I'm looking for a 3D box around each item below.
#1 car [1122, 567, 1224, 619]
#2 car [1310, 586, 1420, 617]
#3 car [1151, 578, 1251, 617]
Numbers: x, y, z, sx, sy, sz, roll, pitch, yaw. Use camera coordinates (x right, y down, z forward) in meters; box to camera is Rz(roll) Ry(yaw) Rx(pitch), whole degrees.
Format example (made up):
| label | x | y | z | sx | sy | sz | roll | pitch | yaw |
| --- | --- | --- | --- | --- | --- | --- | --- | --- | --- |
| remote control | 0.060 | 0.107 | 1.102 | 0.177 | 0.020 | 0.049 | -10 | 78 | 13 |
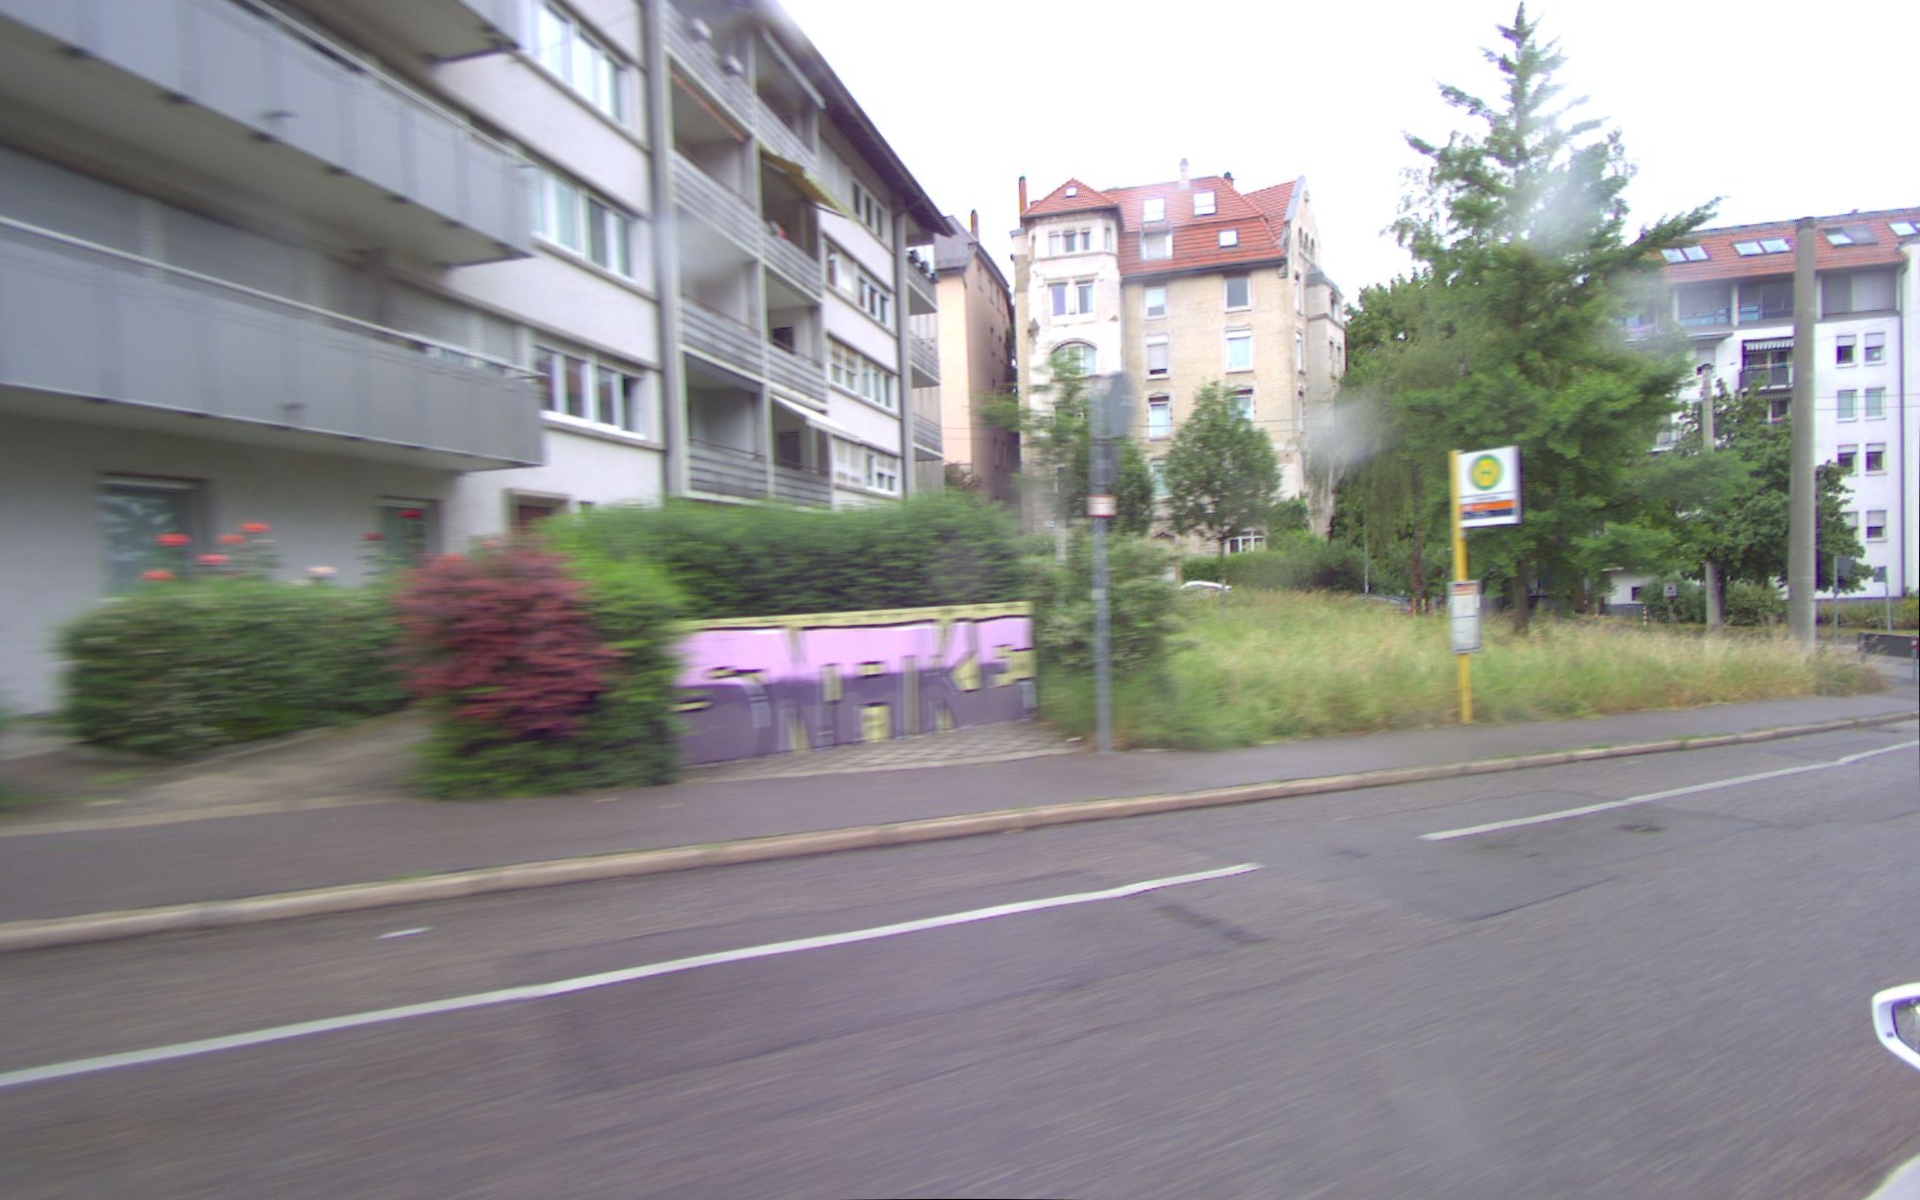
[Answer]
| label | x | y | z | sx | sy | sz | roll | pitch | yaw |
| --- | --- | --- | --- | --- | --- | --- | --- | --- | --- |
| car | 8.713 | -0.315 | 41.050 | 3.920 | 2.041 | 2.000 | 1 | 1 | 17 |
| car | 17.560 | 0.038 | 43.787 | 4.269 | 1.240 | 1.754 | 1 | 1 | 17 |
| car | 10.966 | -0.136 | 45.795 | 4.268 | 1.615 | 2.001 | 1 | 1 | 14 |
